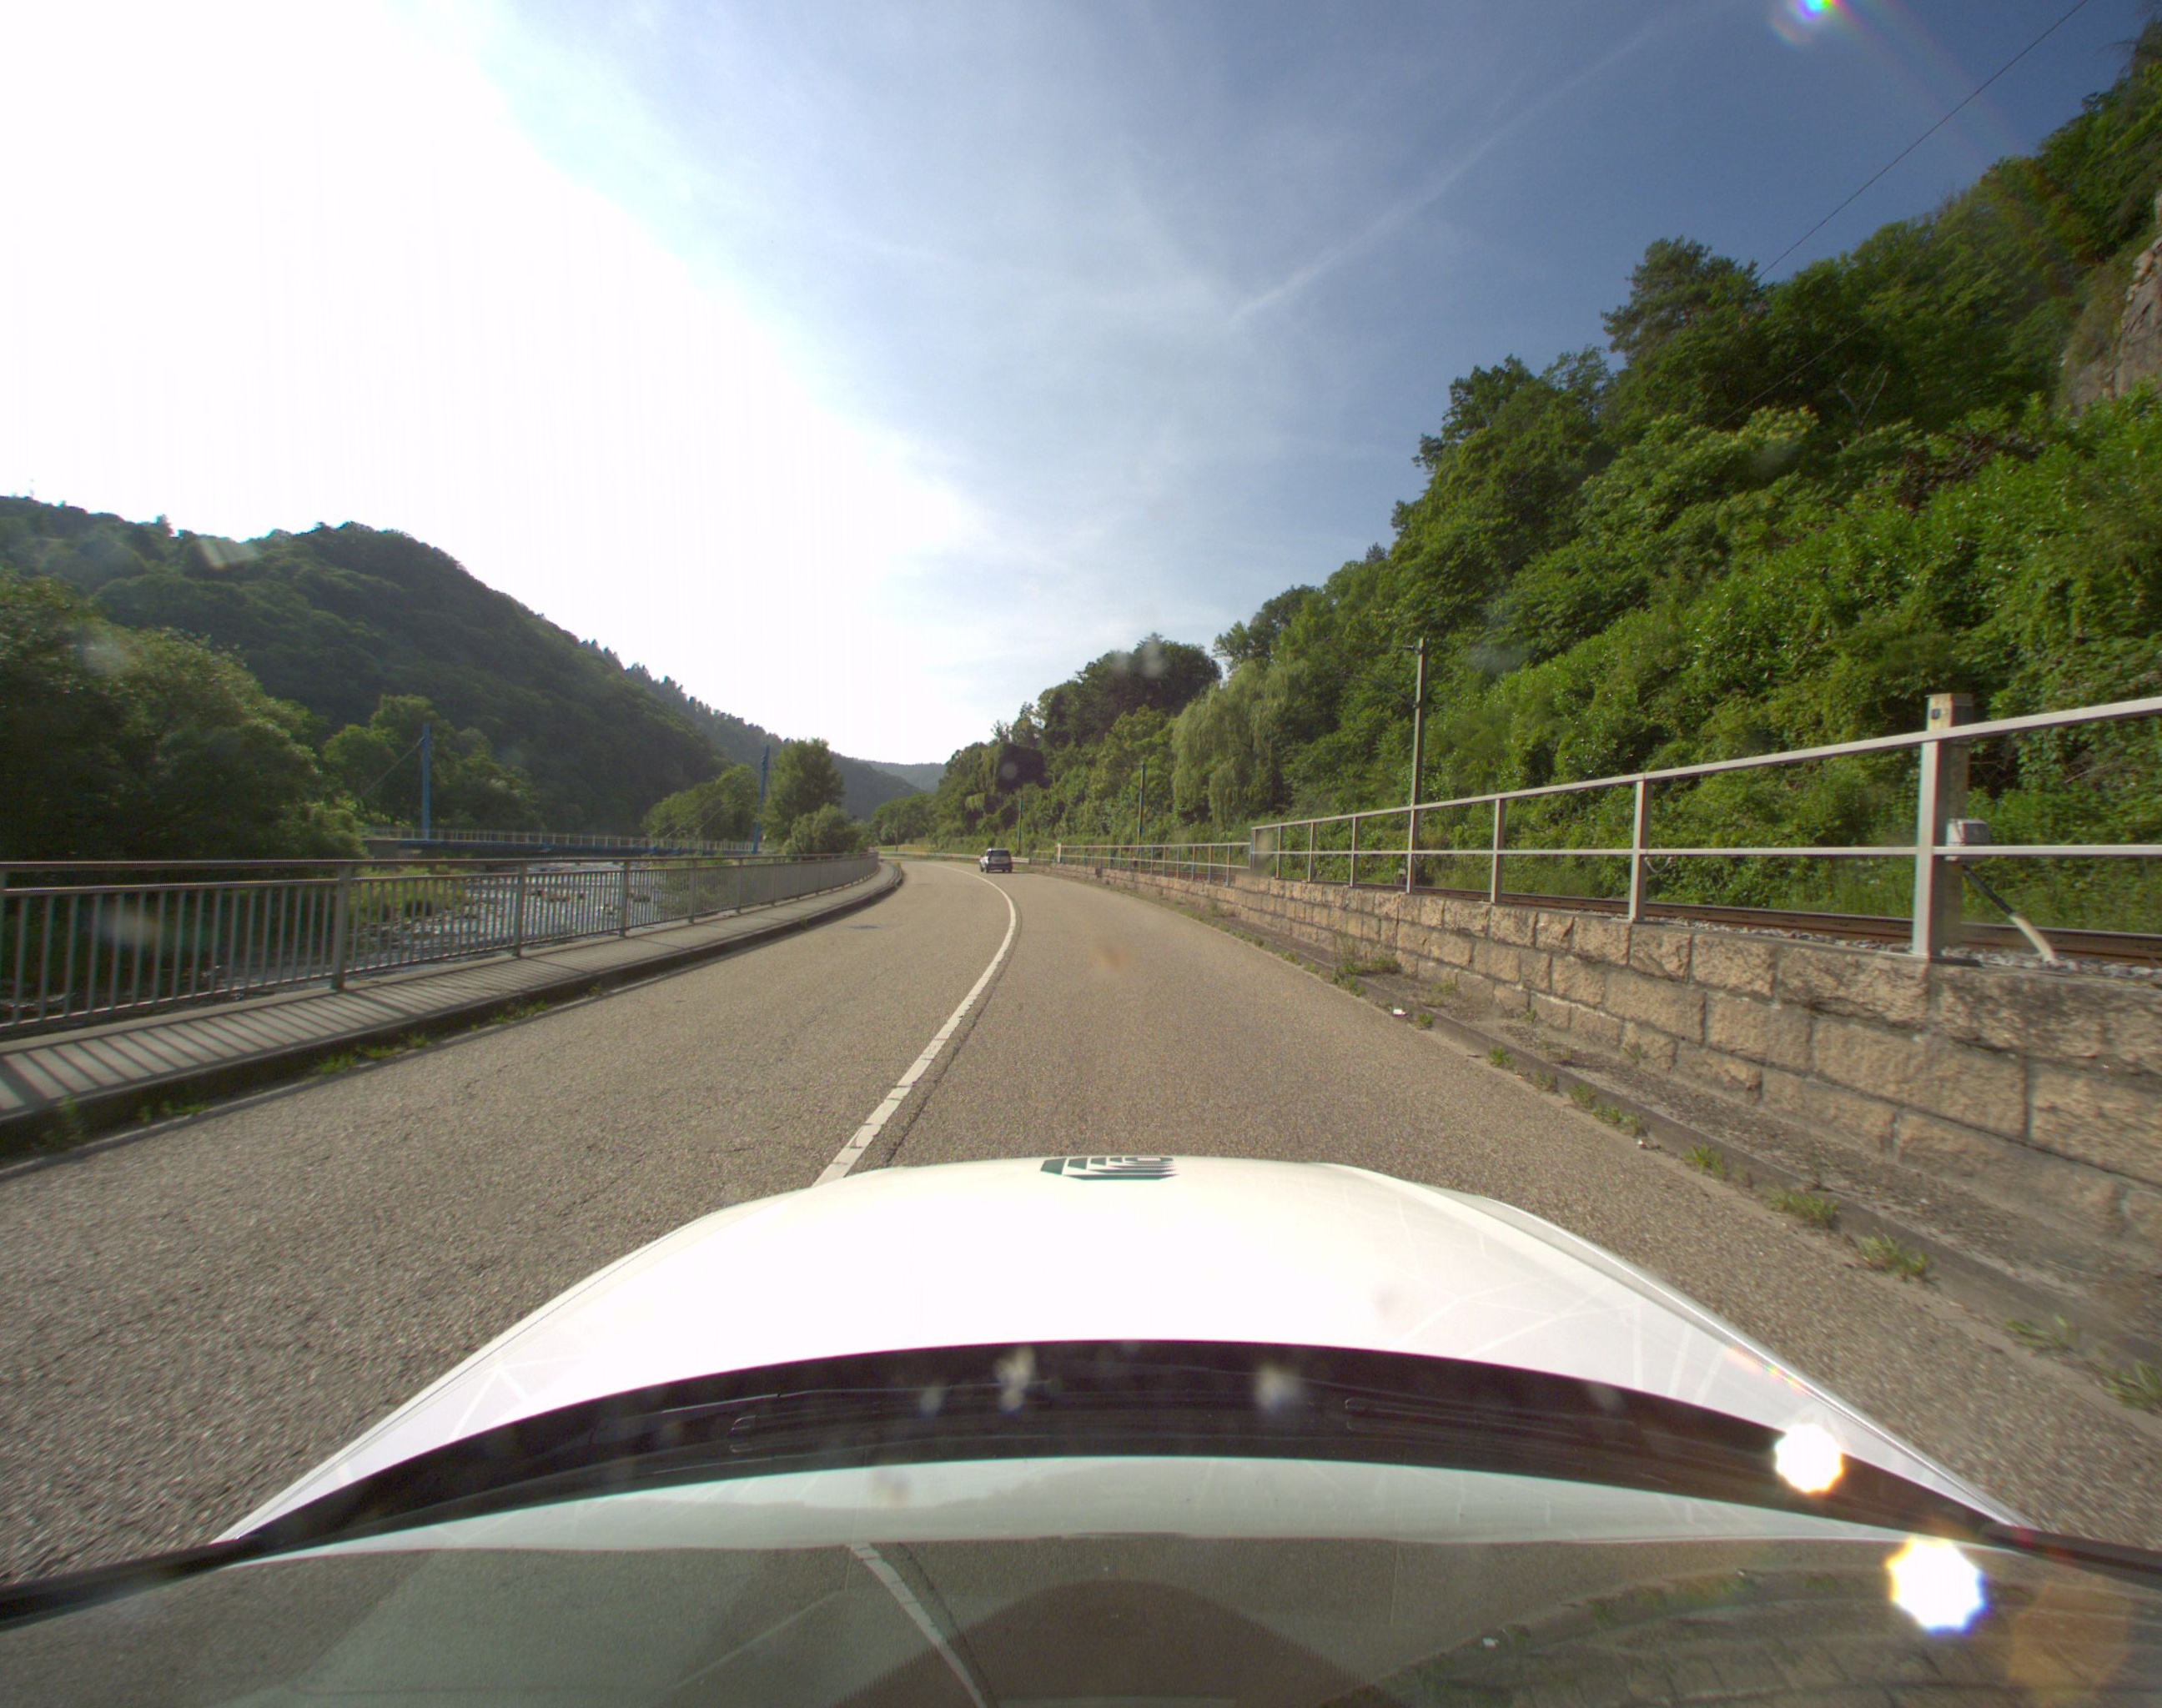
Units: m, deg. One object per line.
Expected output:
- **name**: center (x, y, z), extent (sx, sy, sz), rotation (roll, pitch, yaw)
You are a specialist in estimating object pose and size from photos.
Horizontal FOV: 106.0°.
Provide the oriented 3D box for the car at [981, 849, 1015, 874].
- **car**: center (-5.683, 0.463, 55.454), extent (1.875, 1.656, 3.982), rotation (0, 0, -13)
